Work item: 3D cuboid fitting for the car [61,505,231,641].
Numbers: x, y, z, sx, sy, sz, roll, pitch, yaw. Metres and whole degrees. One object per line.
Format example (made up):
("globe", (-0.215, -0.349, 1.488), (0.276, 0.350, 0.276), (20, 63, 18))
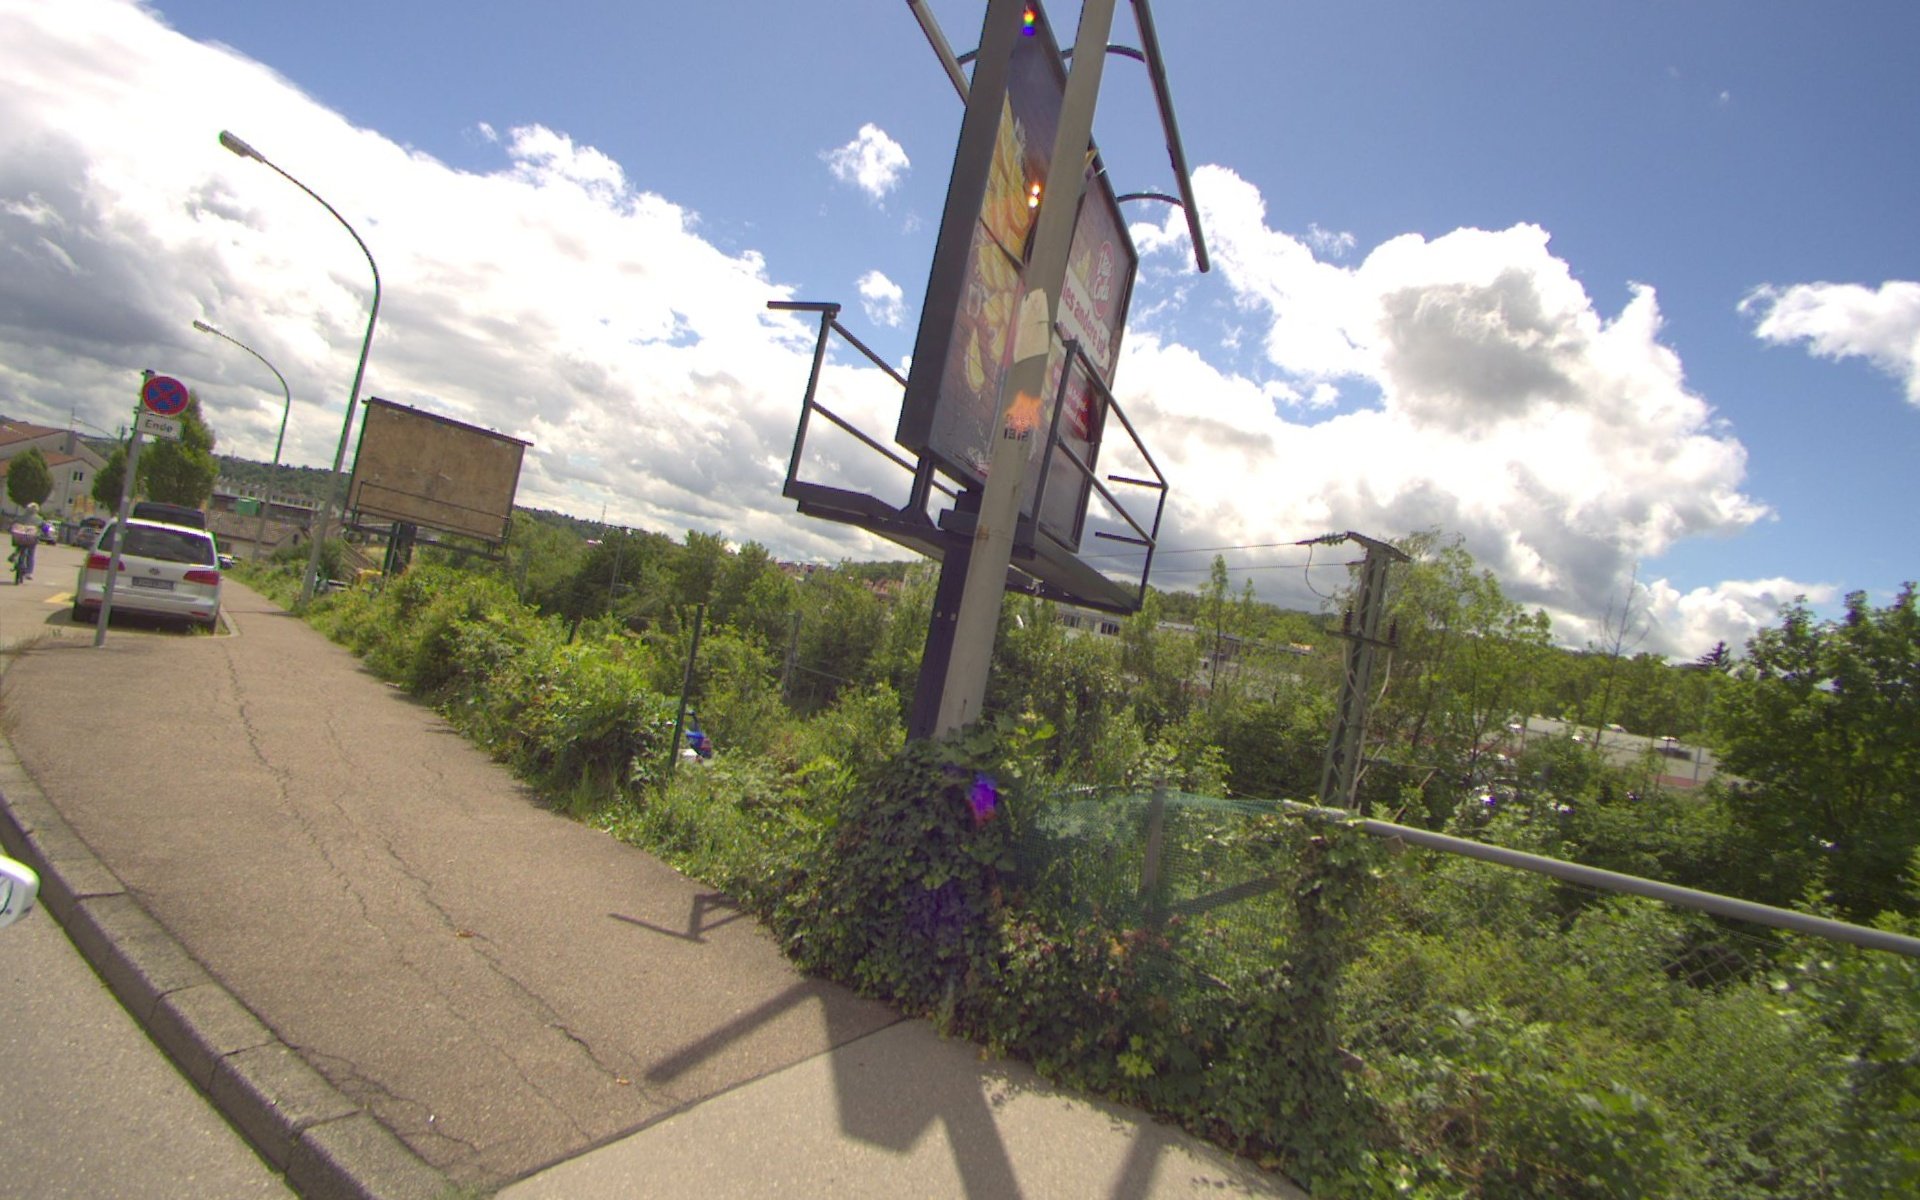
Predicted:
("car", (-13.120, -0.486, 16.318), (1.700, 1.695, 4.262), (11, -4, -38))

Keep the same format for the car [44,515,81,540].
("car", (-73.441, -5.948, 82.304), (3.947, 1.726, 1.810), (5, -2, 44))

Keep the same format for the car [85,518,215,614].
("car", (-16.451, -0.745, 20.527), (1.700, 1.503, 4.524), (12, -4, -38))

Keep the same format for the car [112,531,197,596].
("car", (-23.873, -1.121, 29.874), (1.700, 1.526, 3.657), (12, -4, -38))

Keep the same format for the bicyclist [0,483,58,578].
("bicyclist", (-19.400, -1.439, 20.933), (0.681, 1.847, 1.069), (7, -1, -38))

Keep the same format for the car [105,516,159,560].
("car", (-46.860, -3.504, 56.927), (1.989, 2.035, 4.862), (11, -4, -41))

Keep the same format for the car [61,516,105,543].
("car", (-69.011, -5.560, 79.154), (3.947, 1.726, 2.131), (5, -2, 44))

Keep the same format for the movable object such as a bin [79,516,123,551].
("movable object such as a bin", (-65.330, -5.051, 76.532), (2.524, 2.330, 2.131), (6, -2, 43))

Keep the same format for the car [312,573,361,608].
("car", (-34.145, -0.534, 55.078), (1.680, 1.524, 3.837), (8, -2, -39))

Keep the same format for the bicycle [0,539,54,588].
("bicycle", (-19.512, -0.784, 20.980), (0.684, 0.888, 2.080), (8, -2, -38))

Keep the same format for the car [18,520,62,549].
("car", (-62.036, -4.446, 67.880), (1.988, 1.637, 3.953), (8, -2, -42))

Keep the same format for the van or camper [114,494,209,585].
("van or camper", (-27.777, -2.094, 35.066), (2.116, 2.614, 5.855), (9, -3, -38))

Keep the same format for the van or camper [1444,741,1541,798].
("van or camper", (35.576, 11.291, 67.316), (1.910, 2.719, 5.265), (12, -4, -29))

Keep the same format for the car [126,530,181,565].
("car", (-42.079, -2.762, 52.473), (1.897, 1.459, 3.502), (8, -2, -42))

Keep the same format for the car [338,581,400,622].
("car", (-27.585, 0.037, 46.897), (1.786, 1.524, 3.837), (8, -2, -39))

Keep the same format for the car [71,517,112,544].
("car", (-62.428, -4.998, 72.305), (1.988, 1.637, 3.953), (8, -2, -42))
